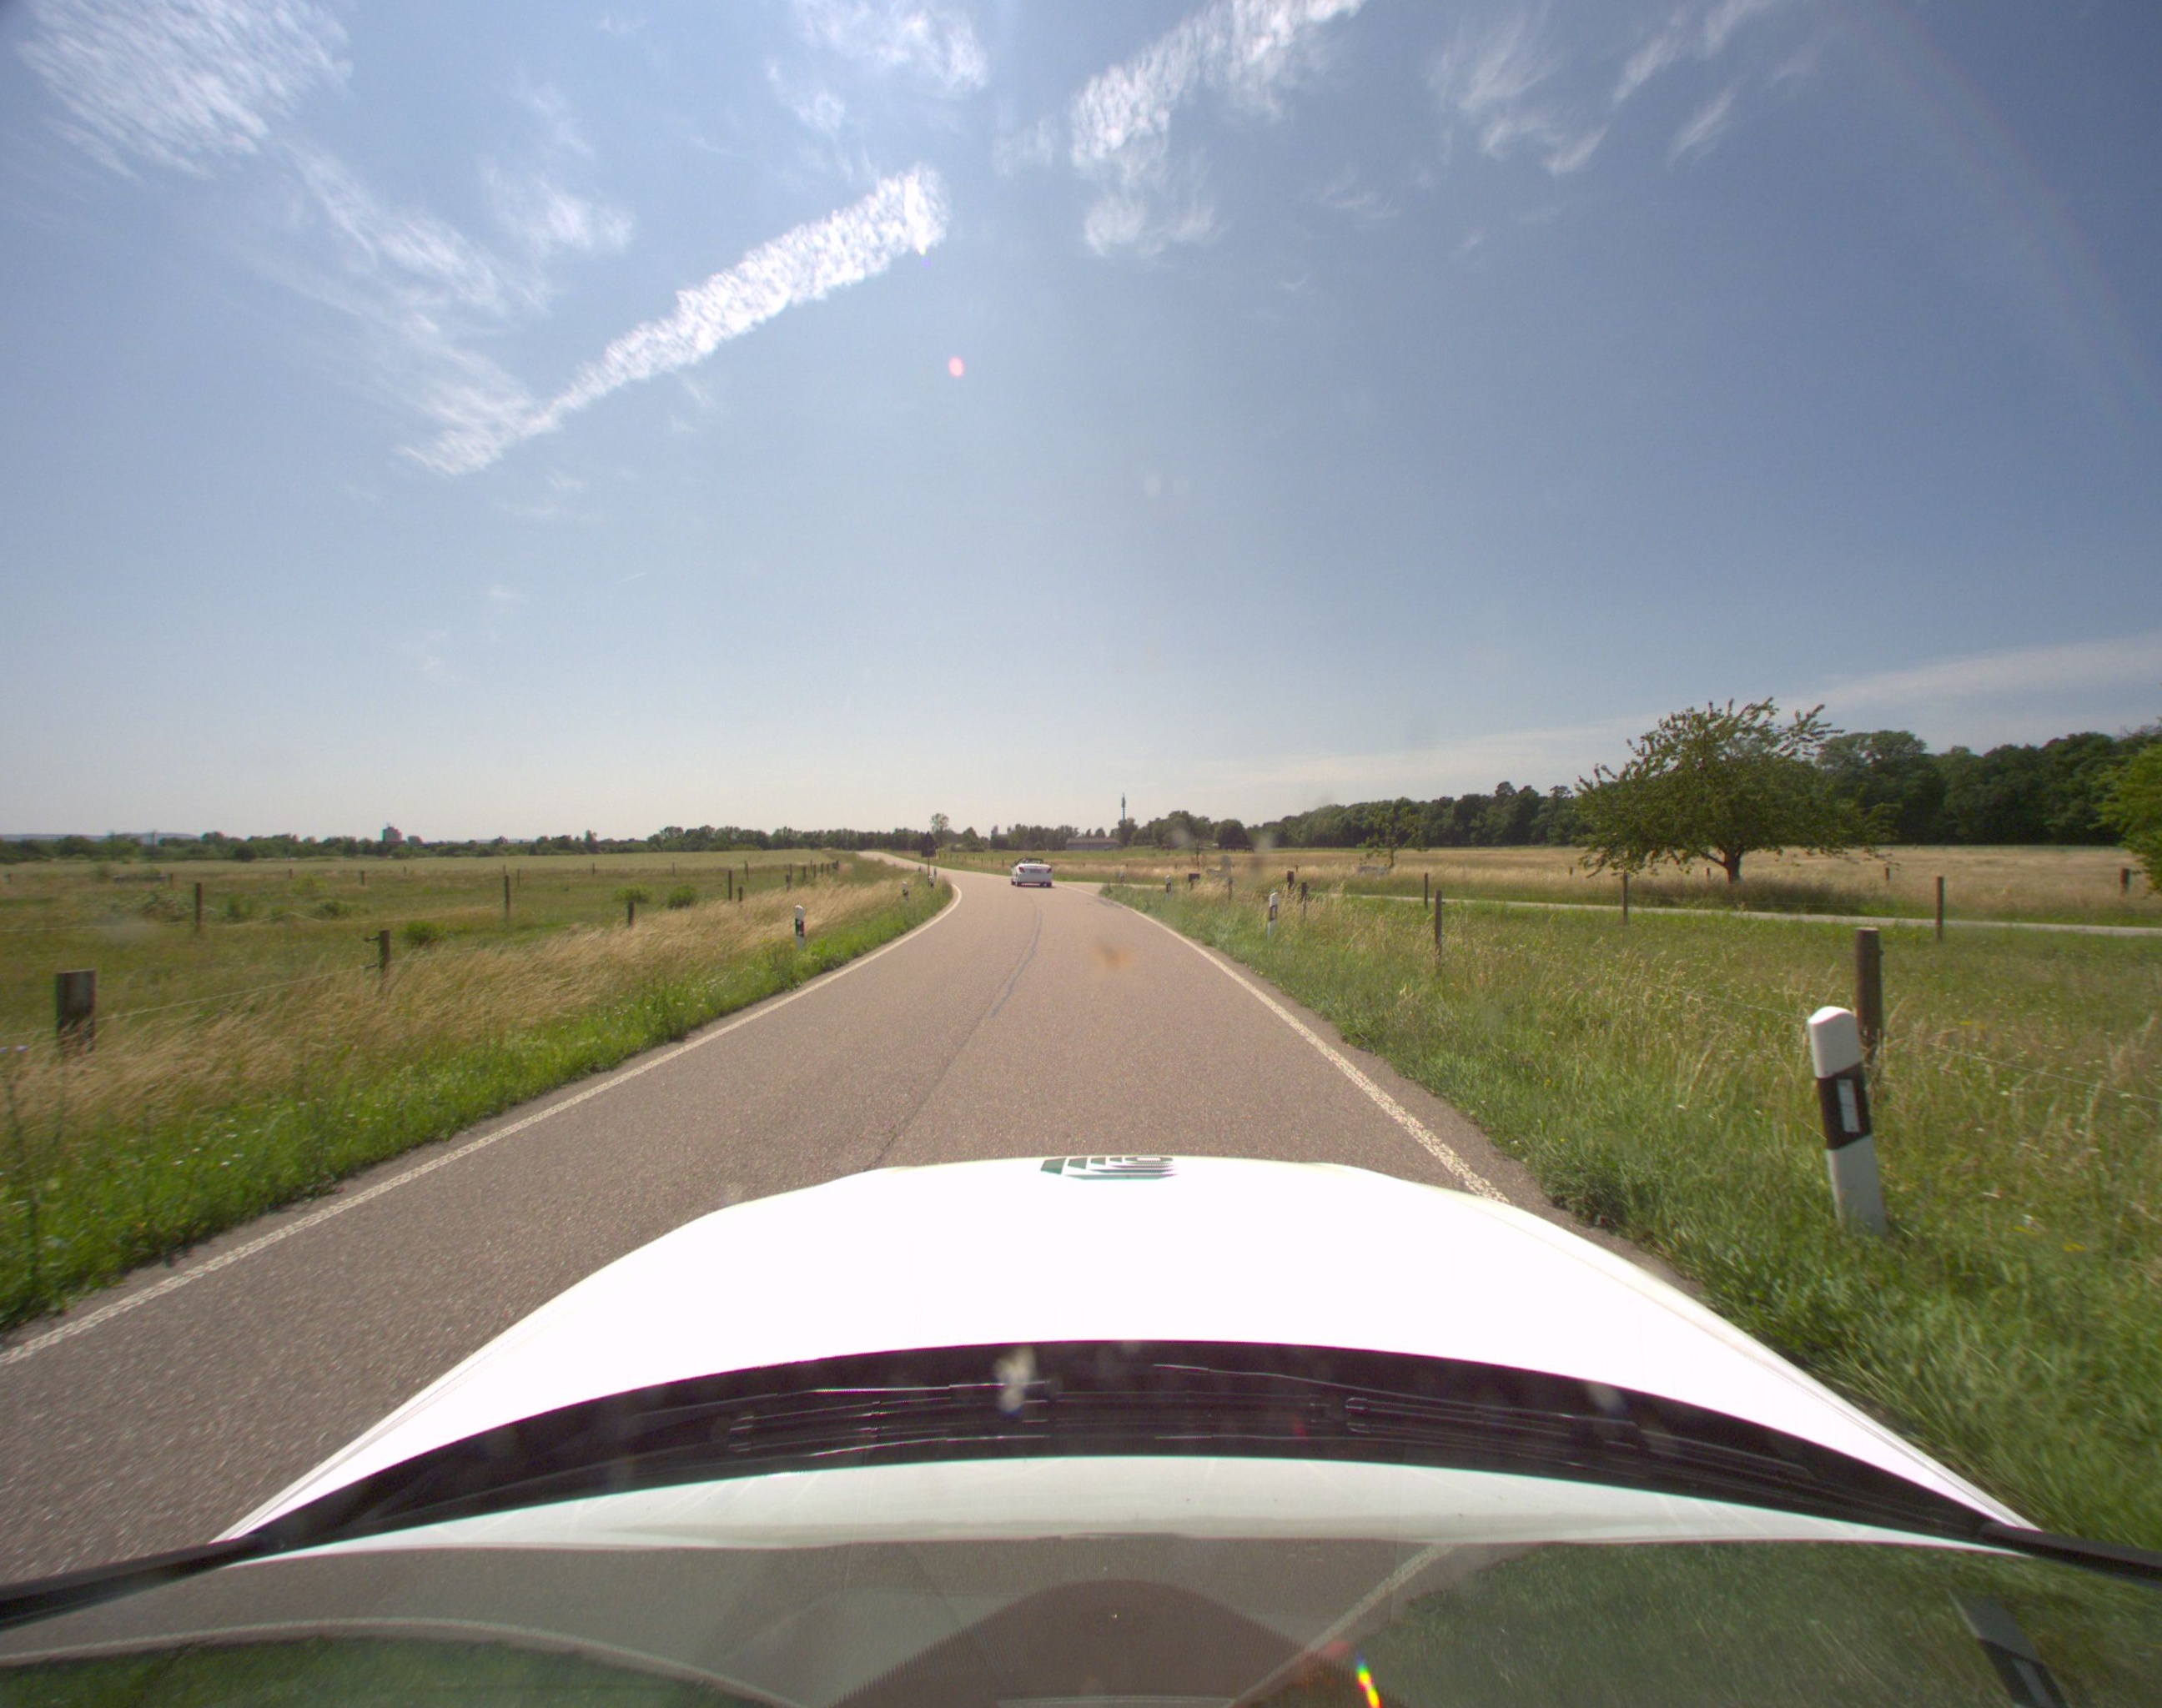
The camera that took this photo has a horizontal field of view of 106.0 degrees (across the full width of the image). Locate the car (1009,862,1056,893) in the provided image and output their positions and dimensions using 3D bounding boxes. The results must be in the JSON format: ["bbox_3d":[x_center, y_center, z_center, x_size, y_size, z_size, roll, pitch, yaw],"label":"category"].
[{"bbox_3d":[-2.444,1.149,40.074,1.851,1.379,3.985,1,-2,-10],"label":"car"}]
